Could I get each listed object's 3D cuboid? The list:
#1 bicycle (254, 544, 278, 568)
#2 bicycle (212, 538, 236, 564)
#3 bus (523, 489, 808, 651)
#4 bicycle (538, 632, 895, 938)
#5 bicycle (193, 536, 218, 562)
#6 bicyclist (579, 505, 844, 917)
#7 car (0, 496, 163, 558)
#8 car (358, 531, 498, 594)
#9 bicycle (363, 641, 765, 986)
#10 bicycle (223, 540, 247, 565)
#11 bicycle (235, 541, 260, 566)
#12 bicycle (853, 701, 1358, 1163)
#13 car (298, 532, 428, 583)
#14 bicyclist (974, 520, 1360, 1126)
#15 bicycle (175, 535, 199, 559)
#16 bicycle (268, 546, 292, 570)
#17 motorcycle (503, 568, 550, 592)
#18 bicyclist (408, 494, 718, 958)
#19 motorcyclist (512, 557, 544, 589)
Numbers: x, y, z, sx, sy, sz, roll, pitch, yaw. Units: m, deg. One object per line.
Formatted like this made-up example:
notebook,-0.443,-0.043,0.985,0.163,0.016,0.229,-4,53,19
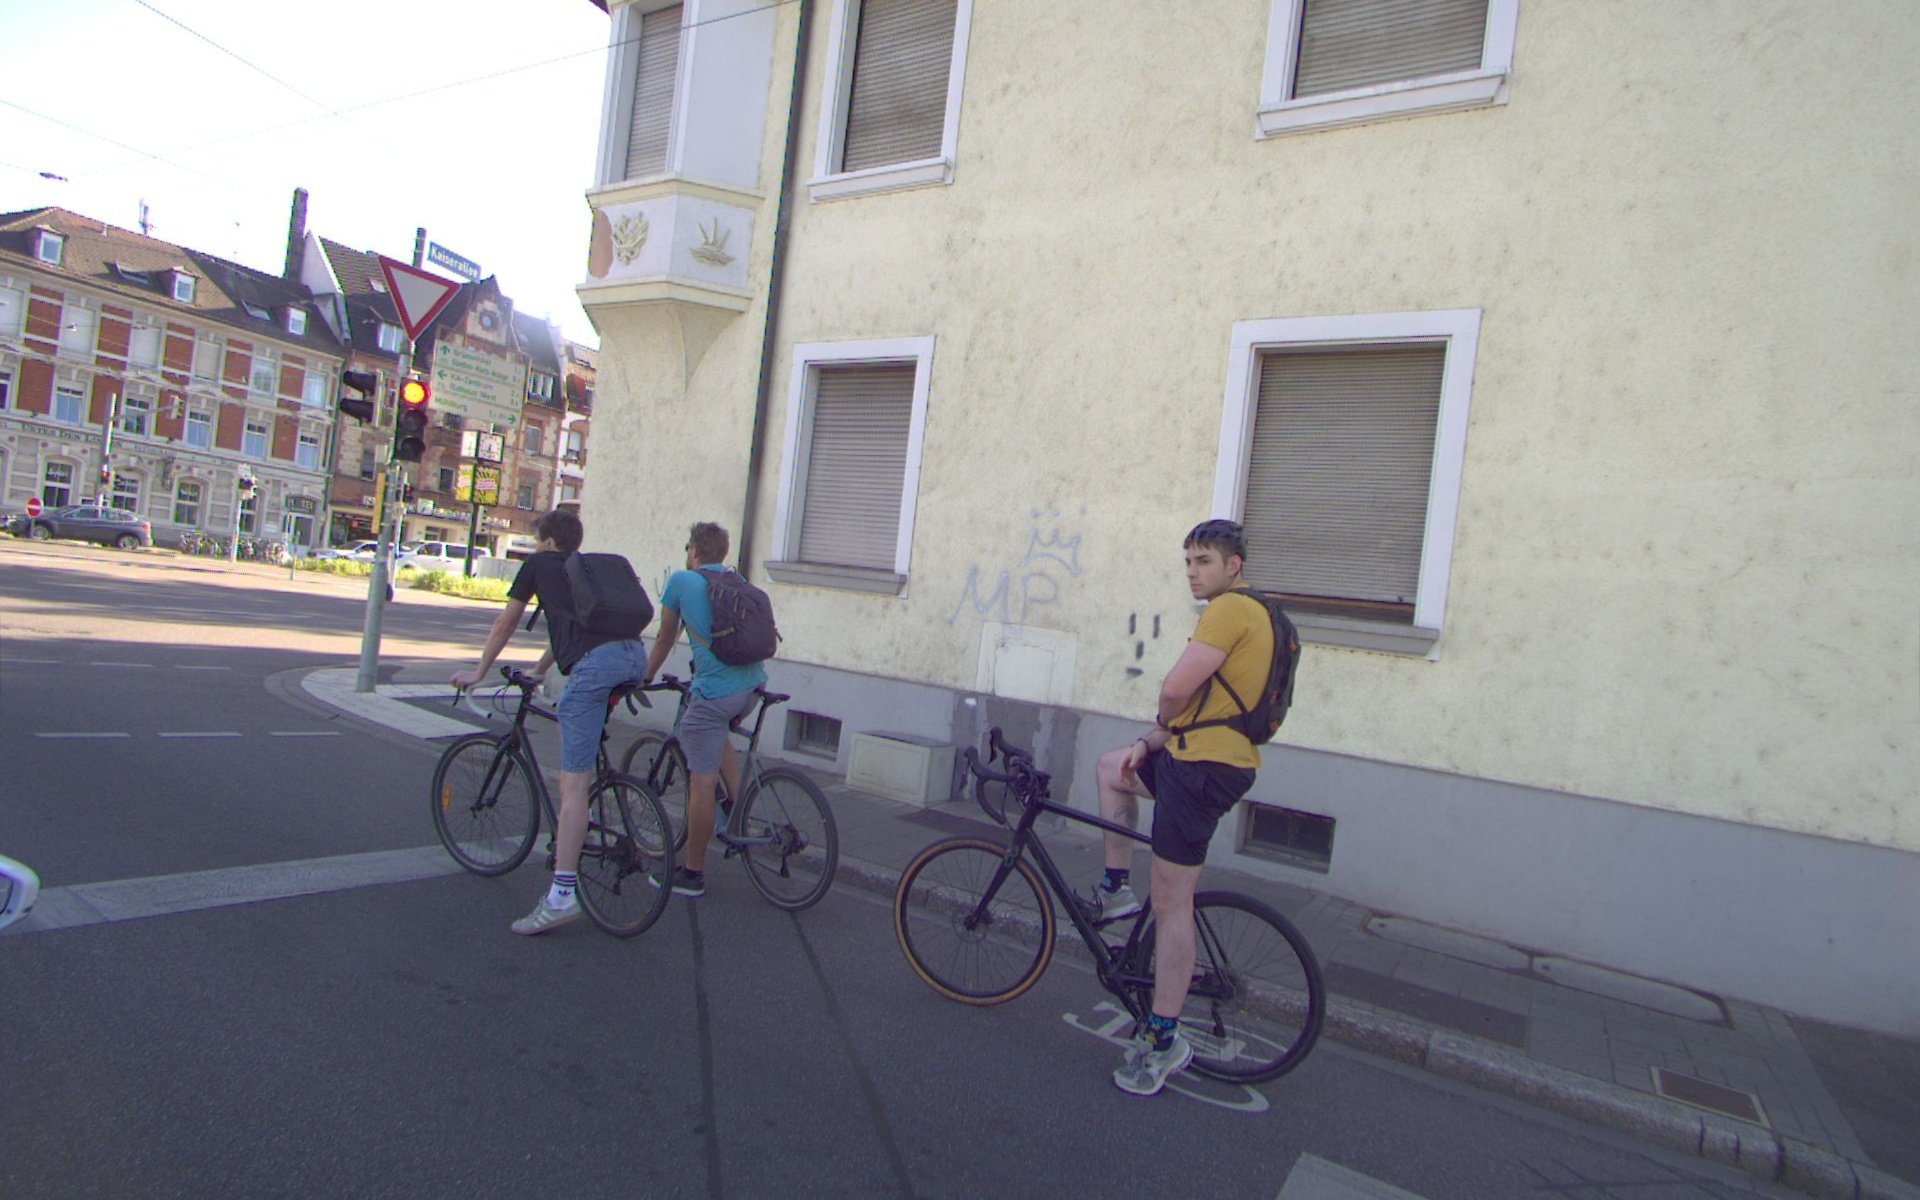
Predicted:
bicycle,-33.332,-2.113,48.298,1.759,1.033,0.485,7,0,42
bicycle,-34.209,-2.291,46.754,1.759,1.033,0.485,7,0,42
bus,-8.158,-0.608,29.538,2.737,3.497,8.645,8,-2,24
bicycle,-1.325,0.880,5.292,1.858,1.180,0.571,7,0,32
bicycle,-34.661,-2.340,46.208,1.759,1.033,0.485,7,0,42
bicyclist,-1.302,0.527,5.282,0.978,1.910,0.652,7,0,32
car,-33.731,-2.760,38.506,1.966,1.635,4.589,7,-1,30
car,-23.289,-1.609,44.271,1.967,2.037,4.988,7,-1,31
bicycle,-1.814,0.838,4.480,1.858,1.071,0.571,7,0,32
bicycle,-34.023,-2.249,47.178,1.759,1.033,0.485,7,0,42
bicycle,-33.695,-2.190,47.570,1.759,1.033,0.485,7,0,42
bicycle,0.498,1.093,3.785,1.670,1.180,0.571,7,0,32
car,-28.170,-1.968,47.668,1.966,1.673,4.864,7,-1,30
bicyclist,0.757,0.699,3.668,1.019,1.839,0.652,7,0,32
bicycle,-35.086,-2.413,45.672,1.759,0.925,0.485,7,0,42
bicycle,-33.113,-2.057,48.985,1.759,1.033,0.485,7,0,42
motorcycle,-20.670,-0.937,48.025,0.552,0.908,2.043,7,-1,31
bicyclist,-1.766,0.495,4.481,0.978,1.788,0.652,7,0,32
motorcyclist,-20.630,-1.302,48.033,0.732,1.371,1.004,7,0,32
